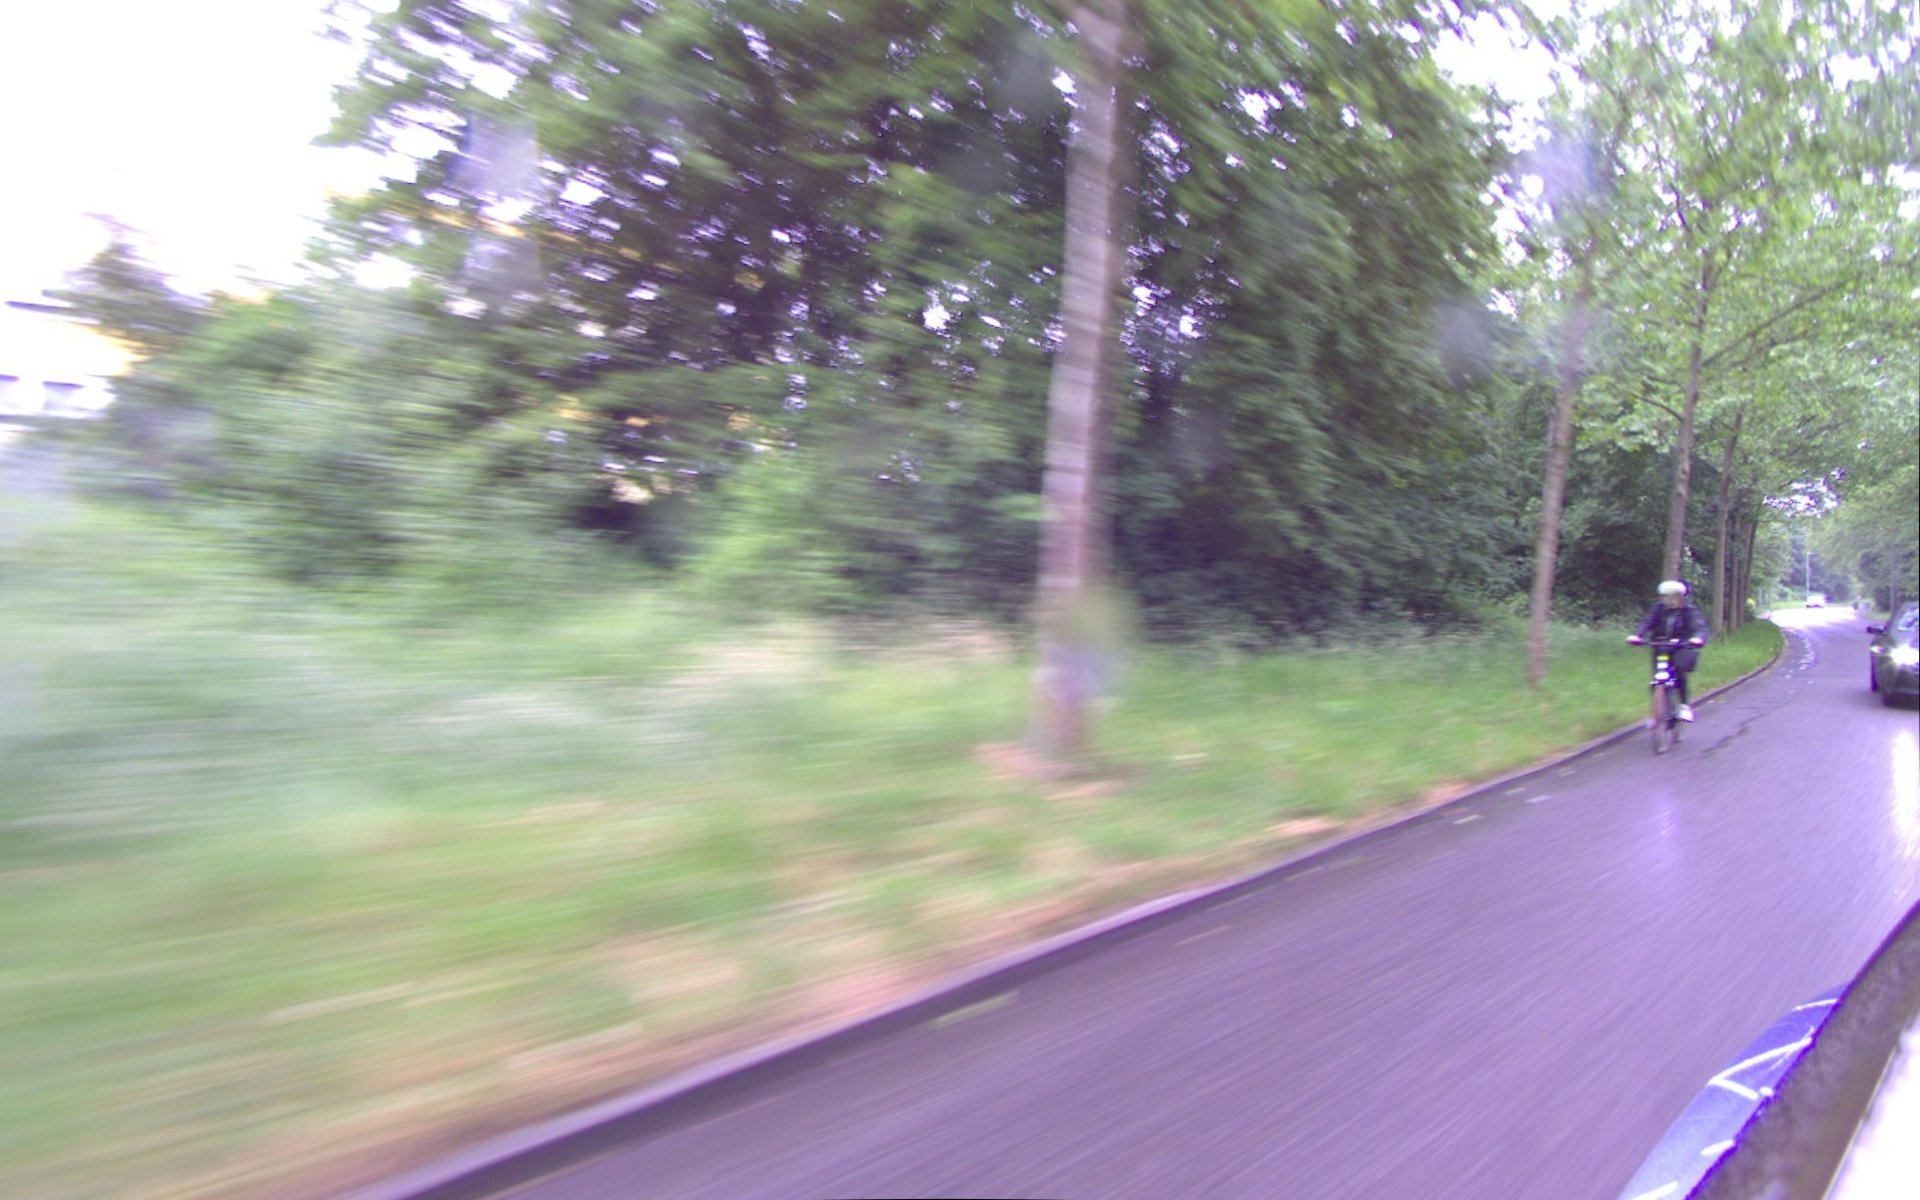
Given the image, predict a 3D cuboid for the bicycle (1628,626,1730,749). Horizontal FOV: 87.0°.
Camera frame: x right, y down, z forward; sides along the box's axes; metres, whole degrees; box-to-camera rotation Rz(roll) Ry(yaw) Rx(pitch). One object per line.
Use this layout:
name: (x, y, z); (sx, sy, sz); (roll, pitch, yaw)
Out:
bicycle: (7.644, 0.880, 10.727); (1.801, 1.148, 0.453); (-1, 0, -41)

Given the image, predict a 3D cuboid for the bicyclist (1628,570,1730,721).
bicyclist: (7.580, 0.449, 10.669); (0.786, 1.516, 0.697); (0, 0, -41)

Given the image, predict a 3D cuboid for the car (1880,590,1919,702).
car: (15.195, 0.603, 14.982); (4.817, 1.513, 1.841); (0, -1, -42)
